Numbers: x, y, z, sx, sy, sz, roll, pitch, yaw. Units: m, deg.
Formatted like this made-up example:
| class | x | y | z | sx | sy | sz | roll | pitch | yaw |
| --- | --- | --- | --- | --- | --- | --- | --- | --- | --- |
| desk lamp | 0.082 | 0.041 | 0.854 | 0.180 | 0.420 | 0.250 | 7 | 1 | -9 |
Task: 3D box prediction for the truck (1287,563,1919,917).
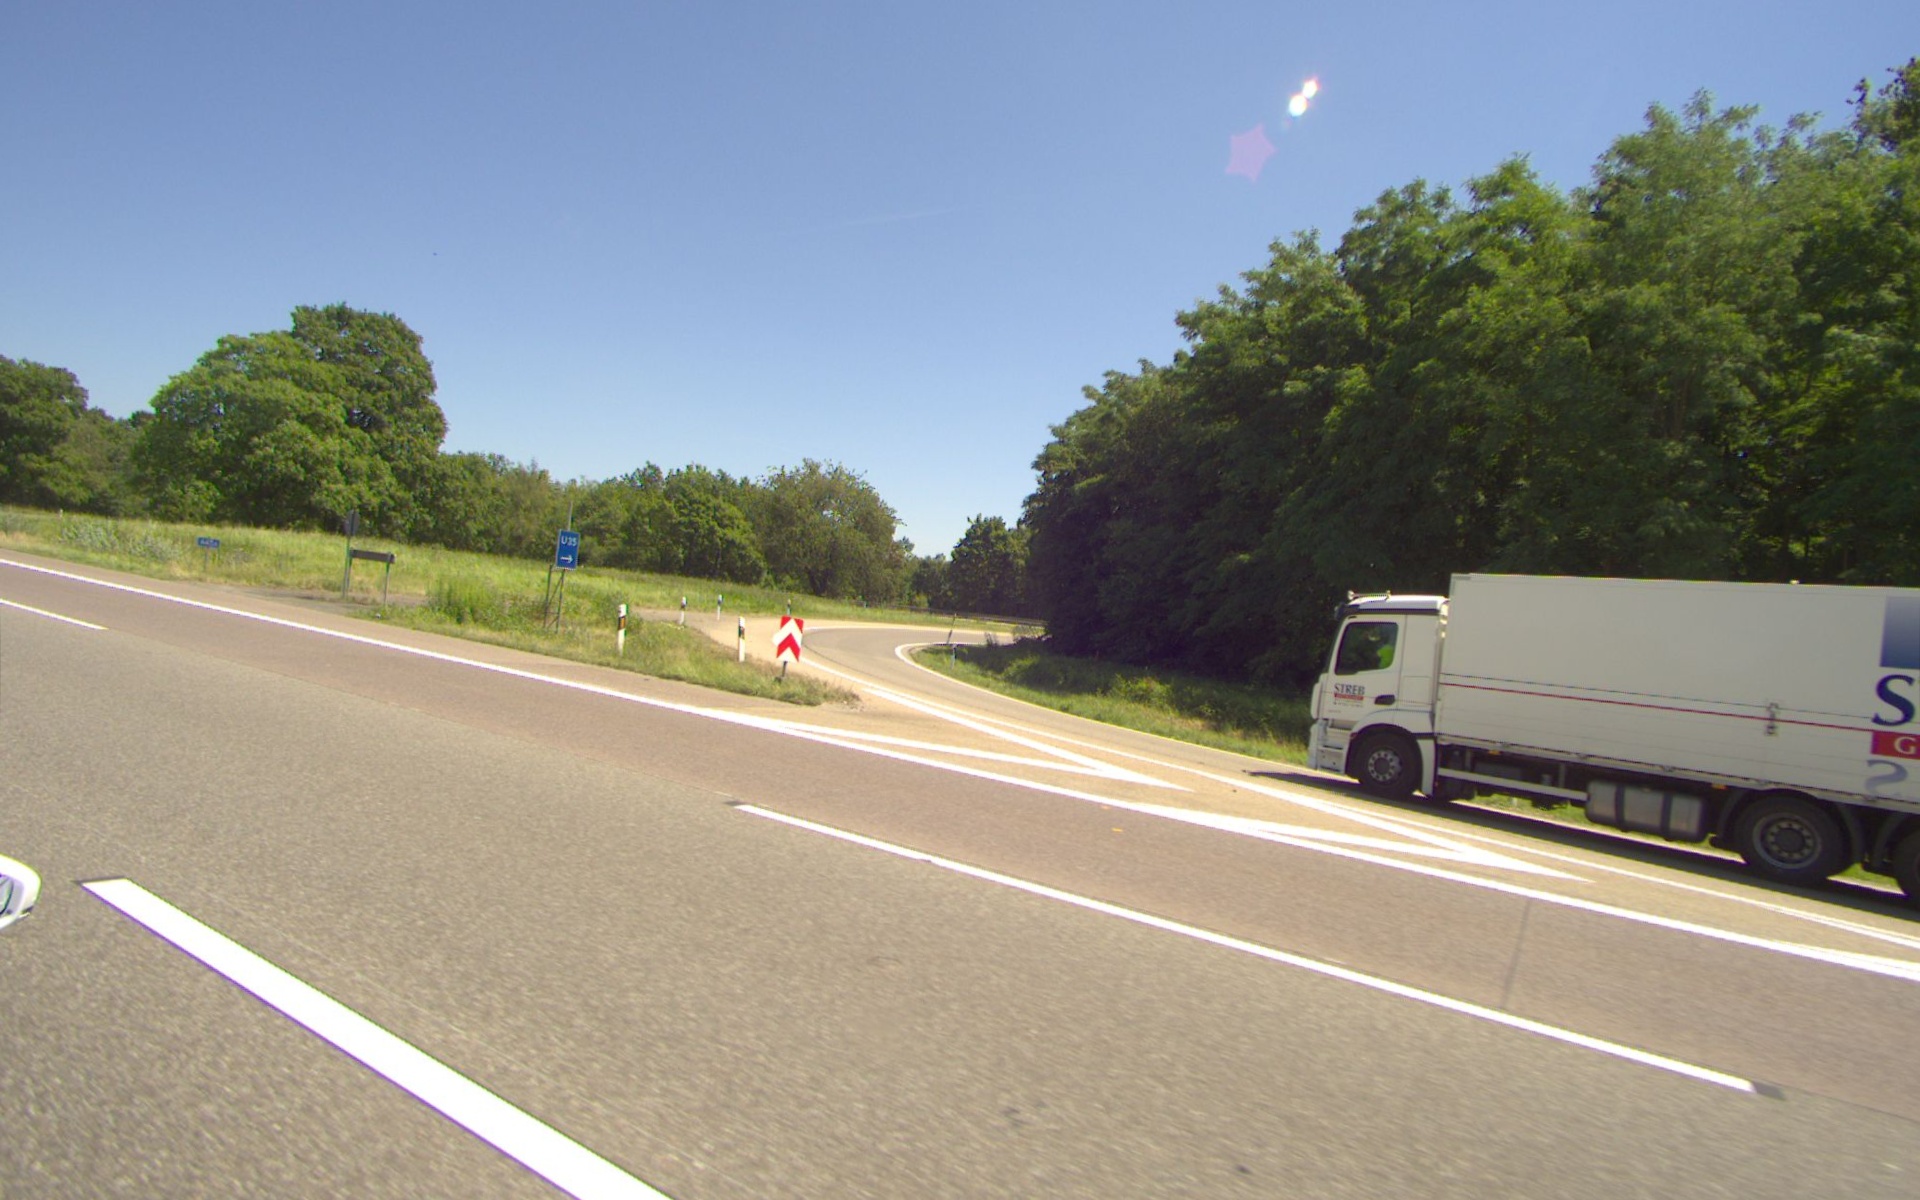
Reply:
| class | x | y | z | sx | sy | sz | roll | pitch | yaw |
| --- | --- | --- | --- | --- | --- | --- | --- | --- | --- |
| truck | 9.842 | 1.616 | 12.493 | 3.019 | 3.358 | 10.643 | 8 | -2 | -42 |
